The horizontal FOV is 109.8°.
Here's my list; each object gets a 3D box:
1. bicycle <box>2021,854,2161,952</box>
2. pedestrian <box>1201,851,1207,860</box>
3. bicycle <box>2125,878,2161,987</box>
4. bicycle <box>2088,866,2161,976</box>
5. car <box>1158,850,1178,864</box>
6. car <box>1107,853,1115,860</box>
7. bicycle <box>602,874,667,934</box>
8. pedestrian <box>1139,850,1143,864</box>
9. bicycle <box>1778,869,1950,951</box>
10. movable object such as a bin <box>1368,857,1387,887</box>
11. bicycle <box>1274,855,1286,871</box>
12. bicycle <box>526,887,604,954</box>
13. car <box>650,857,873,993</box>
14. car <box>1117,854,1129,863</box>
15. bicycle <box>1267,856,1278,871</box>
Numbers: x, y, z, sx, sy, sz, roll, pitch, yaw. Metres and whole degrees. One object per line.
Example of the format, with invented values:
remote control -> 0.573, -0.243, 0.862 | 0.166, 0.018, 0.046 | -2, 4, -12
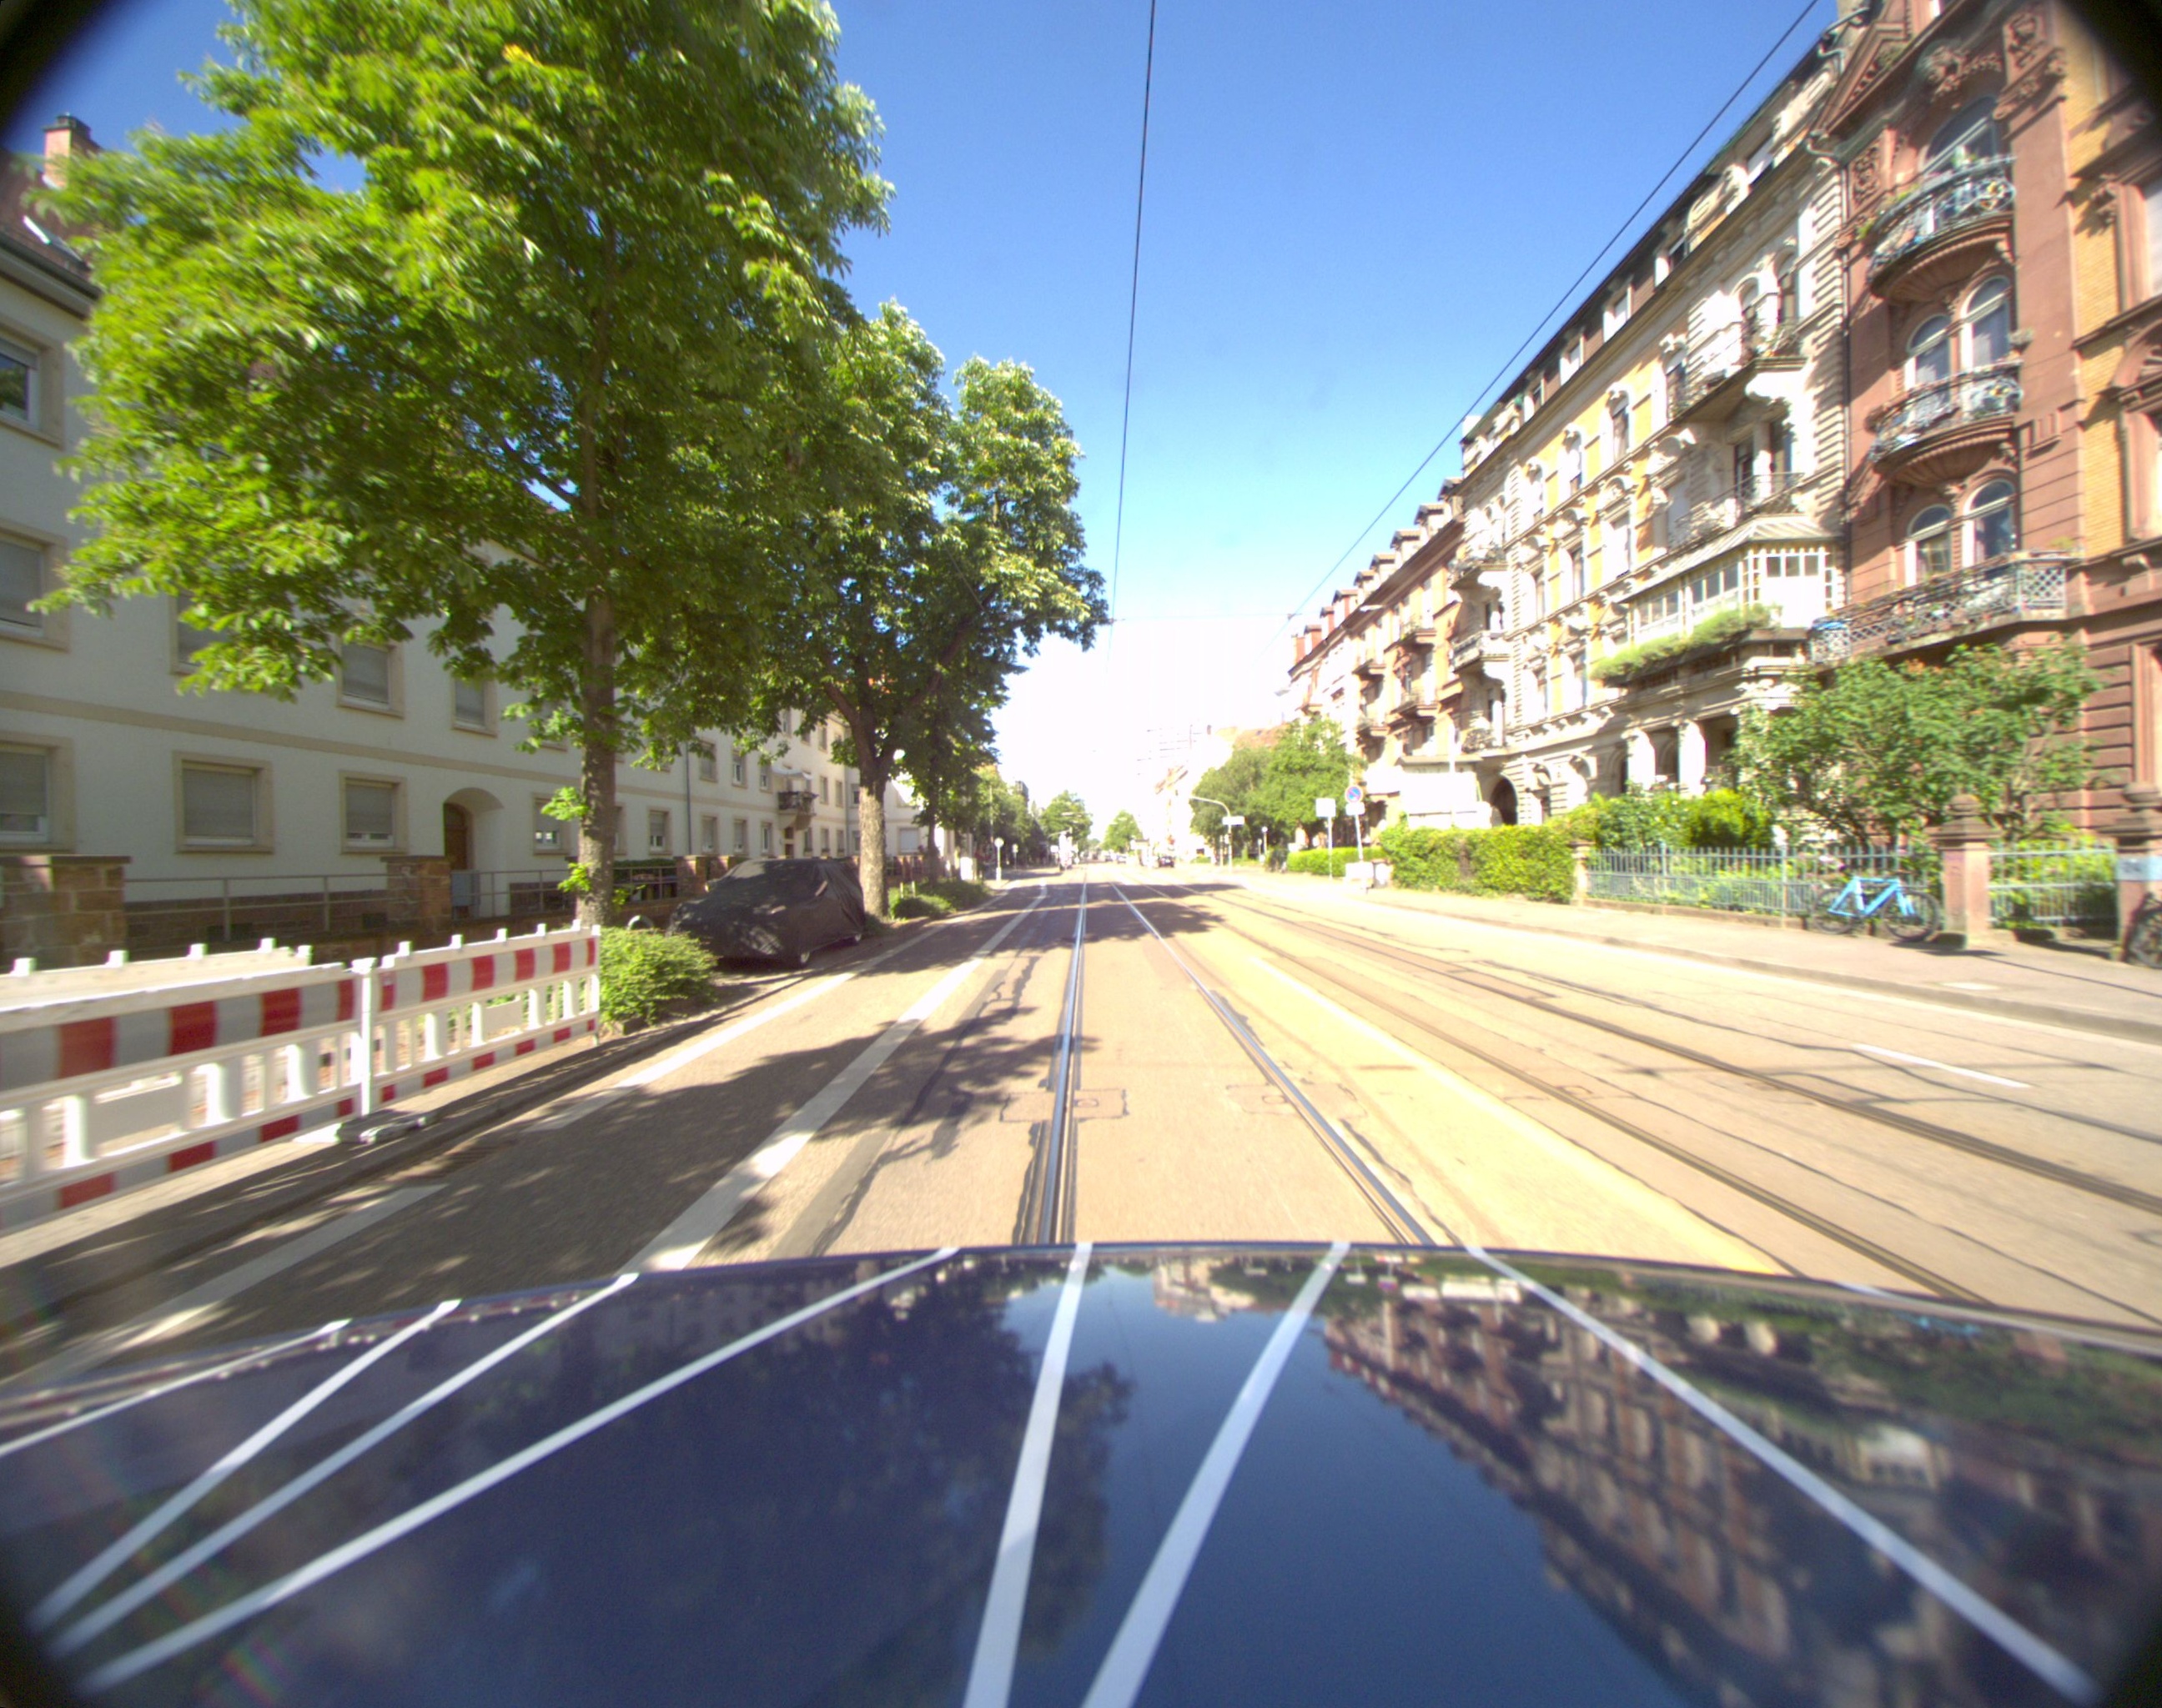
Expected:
bicycle -> 12.521, 0.575, 9.220 | 1.578, 1.027, 0.479 | -5, 1, 0
pedestrian -> 16.697, 0.221, 103.350 | 0.659, 1.274, 0.724 | -3, 1, 1
bicycle -> 10.692, 0.755, 6.676 | 0.564, 1.027, 1.767 | -3, 0, 0
bicycle -> 11.572, 0.627, 7.766 | 1.752, 1.027, 0.565 | -5, 1, 0
car -> 10.398, 0.313, 91.374 | 1.836, 1.509, 4.967 | -4, 0, 1
car -> 7.193, 0.642, 181.940 | 1.694, 1.531, 3.799 | -3, 0, 4
bicycle -> -9.983, 1.087, 17.047 | 0.448, 1.231, 1.675 | -1, 0, -1
pedestrian -> 7.638, 0.335, 96.895 | 0.466, 1.774, 0.673 | -1, 1, 0
bicycle -> 10.896, 0.740, 10.676 | 0.564, 1.027, 1.768 | -3, -1, 1
movable object such as a bin -> 10.970, 0.654, 28.130 | 0.480, 1.079, 0.541 | -3, 1, 2
bicycle -> 12.299, 0.569, 46.988 | 0.342, 0.920, 1.943 | -3, 0, 5
bicycle -> -10.532, 1.323, 15.570 | 0.448, 1.231, 1.675 | -1, 0, -1
car -> -4.989, 0.984, 12.656 | 1.748, 1.756, 4.477 | -3, 0, 0
car -> 8.015, 0.784, 145.401 | 1.902, 1.608, 4.264 | 0, 1, -1
bicycle -> 12.881, 0.628, 51.168 | 0.342, 0.920, 1.943 | -3, 0, 5
